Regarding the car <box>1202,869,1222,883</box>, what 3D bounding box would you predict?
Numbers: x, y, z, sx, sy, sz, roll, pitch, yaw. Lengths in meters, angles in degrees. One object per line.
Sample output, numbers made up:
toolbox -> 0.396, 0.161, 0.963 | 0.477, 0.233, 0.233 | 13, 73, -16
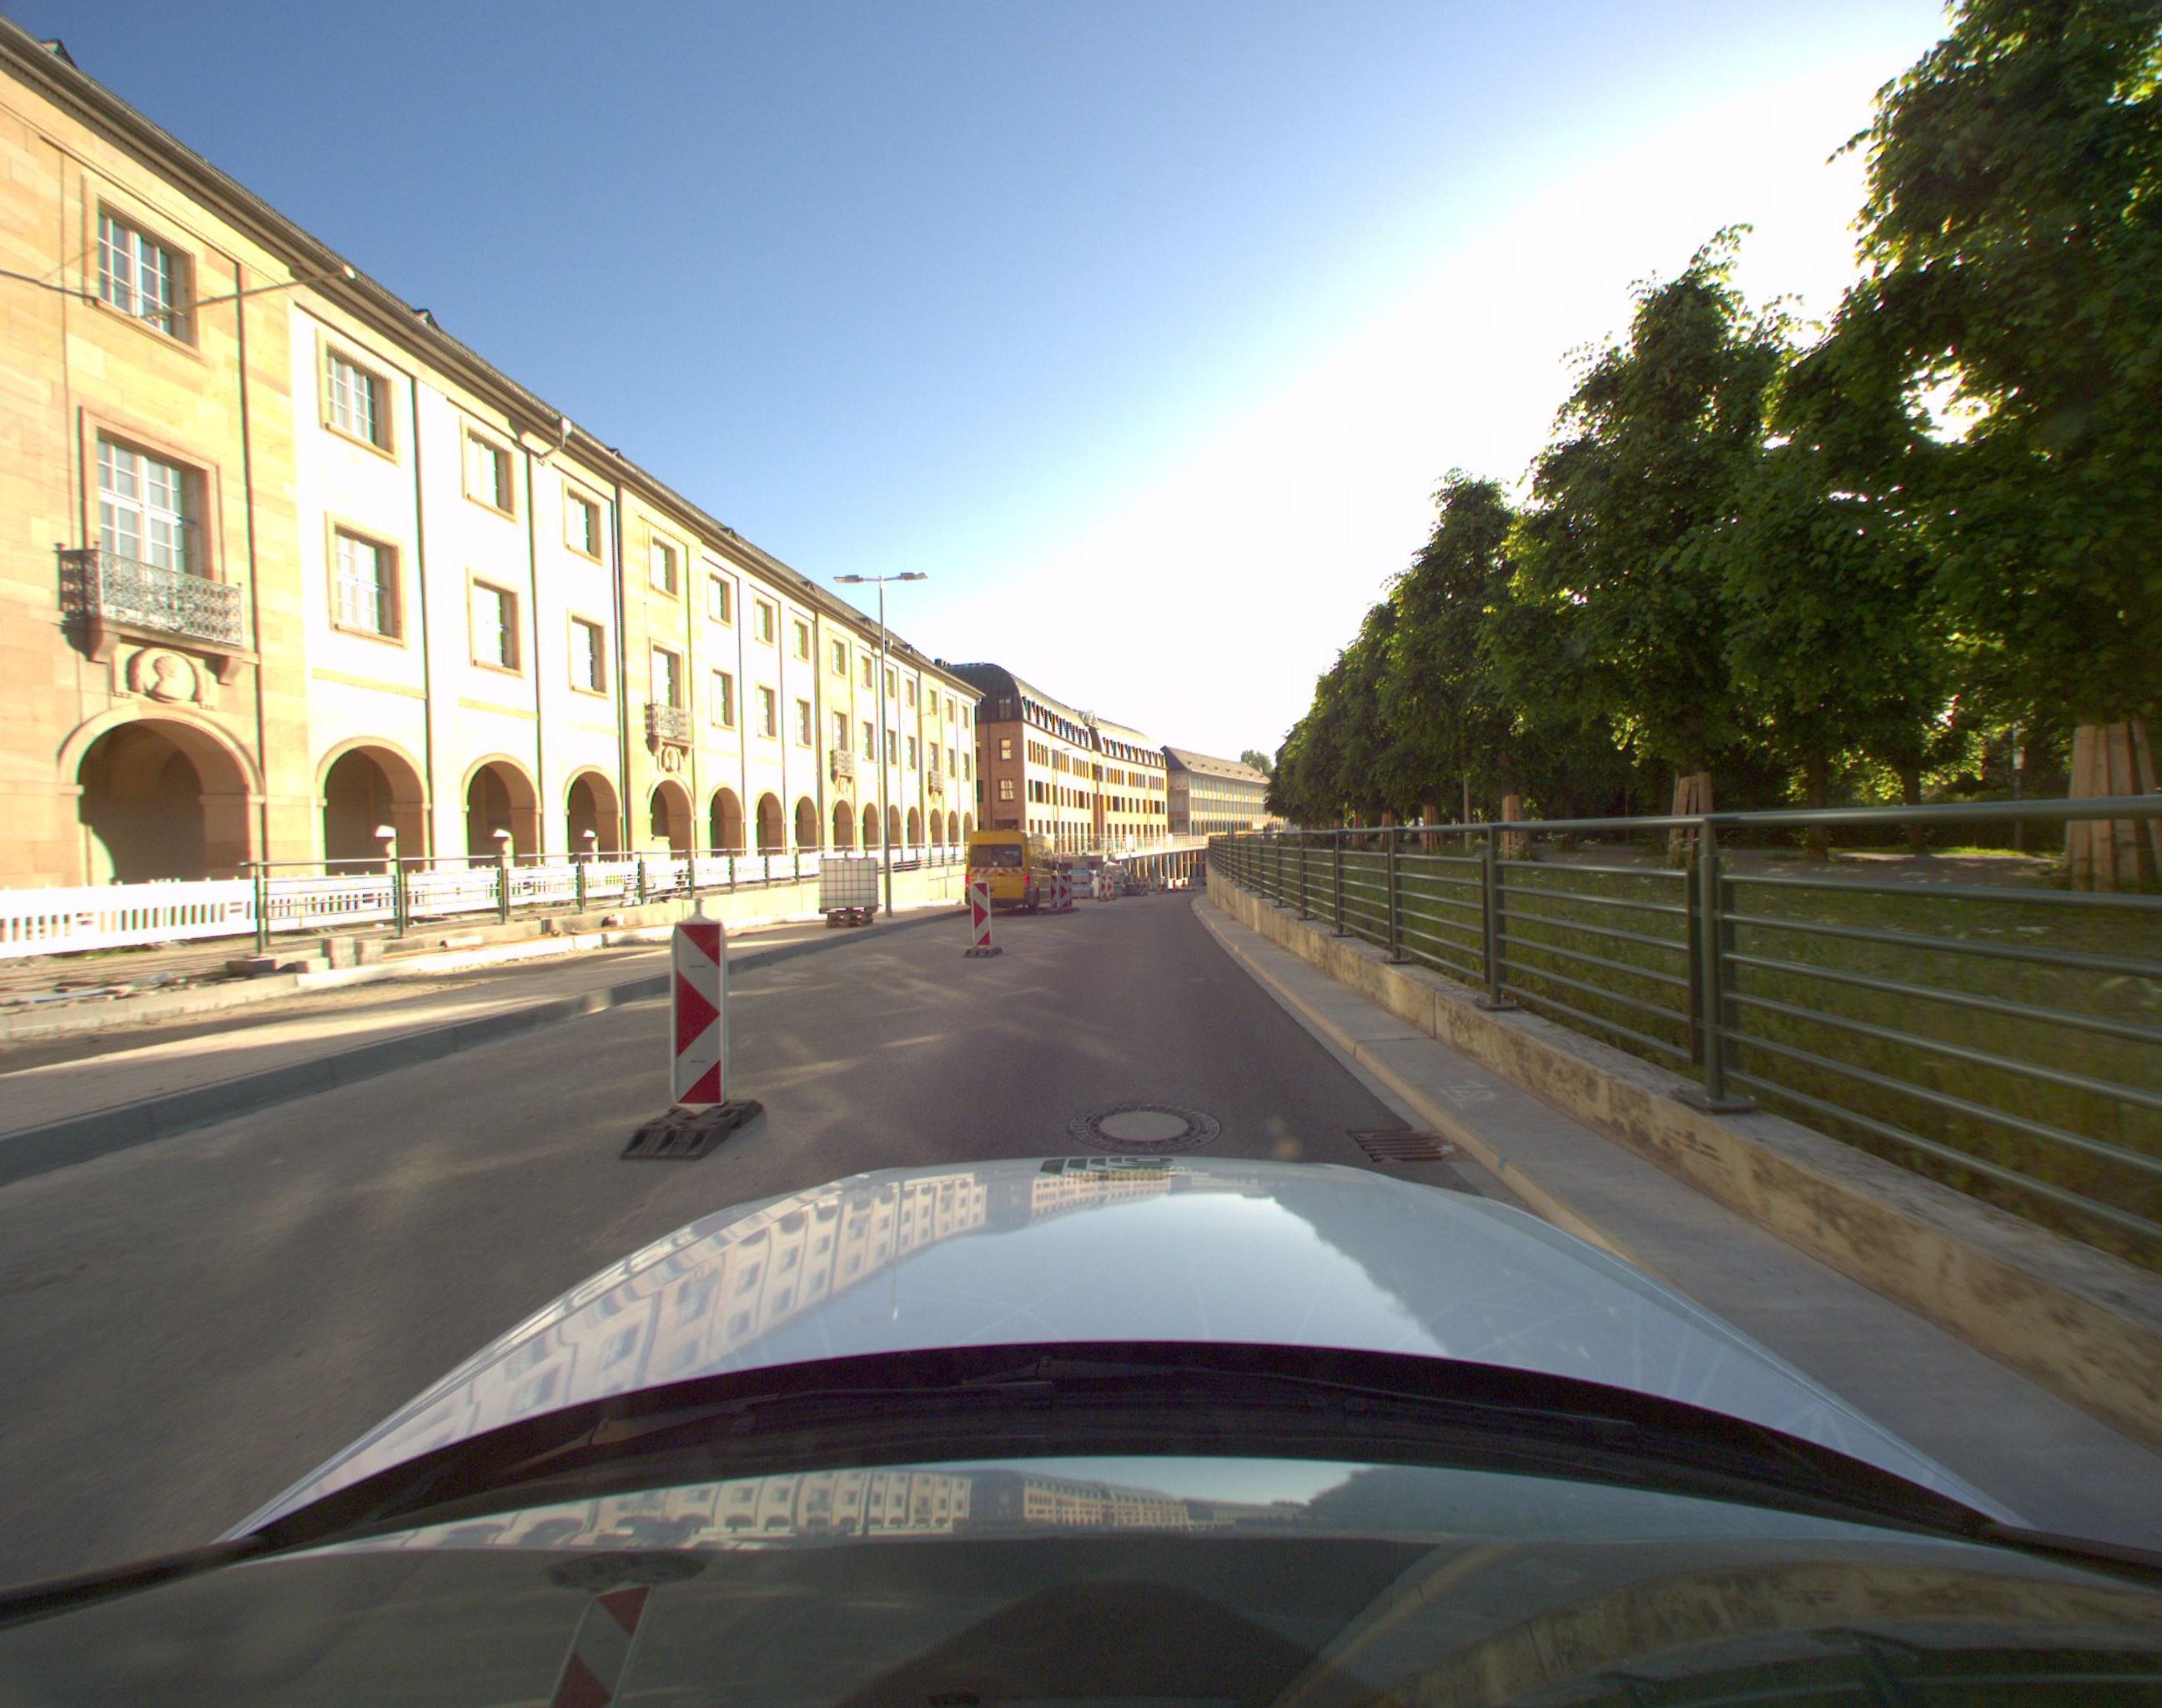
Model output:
car -> 17.910, 2.975, 110.974 | 1.832, 1.775, 4.457 | -1, 0, 20

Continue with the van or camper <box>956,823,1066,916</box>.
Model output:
van or camper -> -2.065, 0.517, 26.670 | 2.182, 2.613, 6.836 | 1, -1, 7
